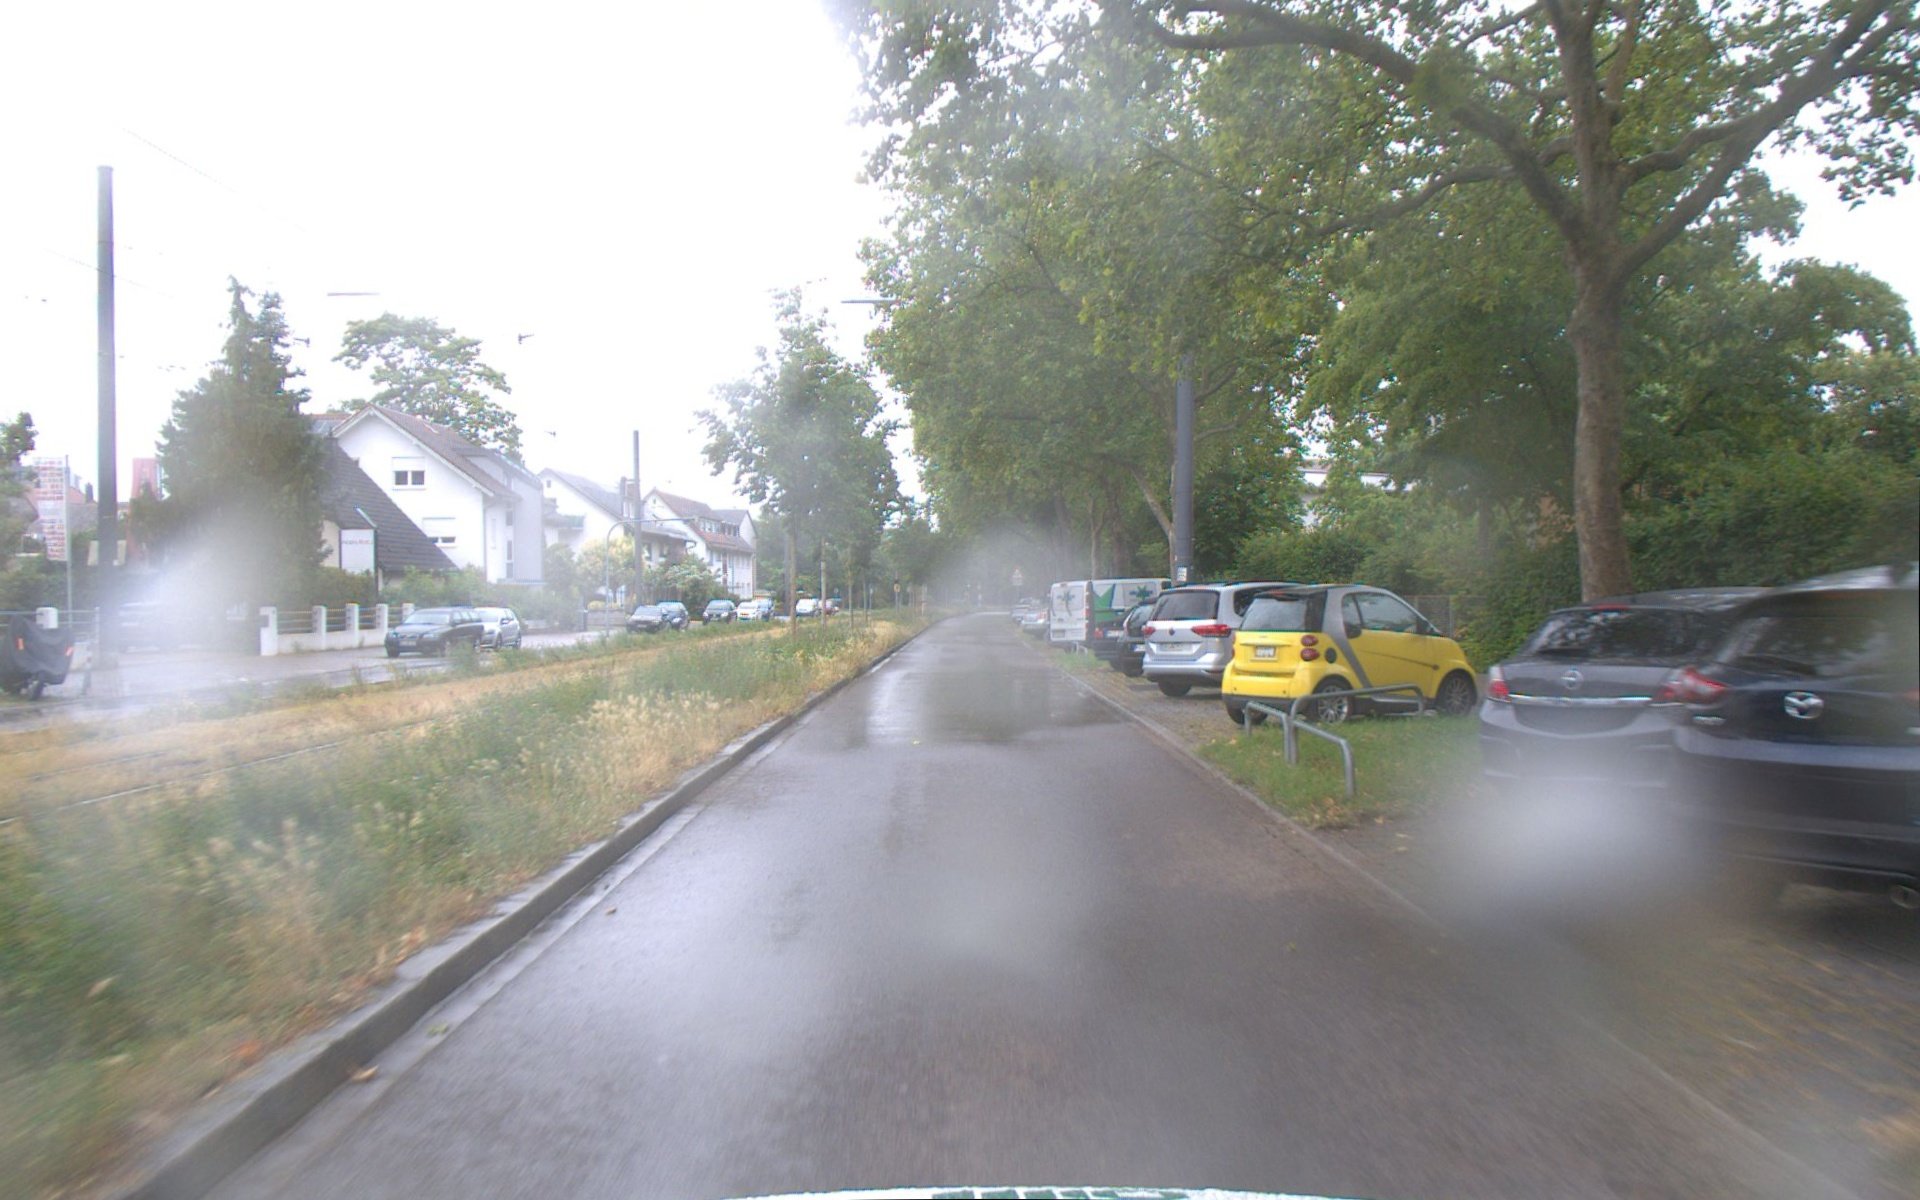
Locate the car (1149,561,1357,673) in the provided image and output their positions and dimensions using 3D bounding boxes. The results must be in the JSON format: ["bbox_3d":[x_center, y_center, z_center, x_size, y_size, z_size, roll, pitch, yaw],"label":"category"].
[{"bbox_3d":[4.965,0.270,27.915,3.237,1.700,1.574,-3,0,-34],"label":"car"}]

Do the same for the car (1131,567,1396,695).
[{"bbox_3d":[4.581,0.430,24.690,4.007,1.669,1.632,-3,0,-39],"label":"car"}]

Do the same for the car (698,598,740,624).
[{"bbox_3d":[-15.540,0.695,106.903,1.952,1.543,4.206,1,1,2],"label":"car"}]

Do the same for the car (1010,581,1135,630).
[{"bbox_3d":[4.319,0.195,63.344,4.503,1.571,1.867,-4,2,-32],"label":"car"}]

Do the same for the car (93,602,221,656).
[{"bbox_3d":[-24.173,0.838,49.951,1.953,1.481,3.918,1,0,0],"label":"car"}]

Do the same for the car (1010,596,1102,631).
[{"bbox_3d":[5.117,0.719,88.069,4.723,1.697,1.969,-2,0,-36],"label":"car"}]

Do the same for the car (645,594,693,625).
[{"bbox_3d":[-15.720,0.485,89.491,1.835,1.577,3.870,1,0,0],"label":"car"}]

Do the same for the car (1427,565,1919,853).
[{"bbox_3d":[4.990,0.563,10.636,4.020,1.443,1.719,-3,0,-37],"label":"car"}]

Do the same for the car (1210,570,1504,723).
[{"bbox_3d":[4.447,0.485,18.527,2.864,1.492,1.588,-3,0,-29],"label":"car"}]

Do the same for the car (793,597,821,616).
[{"bbox_3d":[-13.773,0.561,149.220,1.952,1.608,4.518,1,1,2],"label":"car"}]

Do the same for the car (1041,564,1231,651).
[{"bbox_3d":[4.733,0.158,44.182,4.973,2.048,1.975,-3,1,-35],"label":"car"}]

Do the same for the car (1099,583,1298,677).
[{"bbox_3d":[4.483,0.541,30.906,3.370,1.544,1.825,-3,0,-38],"label":"car"}]

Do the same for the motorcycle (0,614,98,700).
[{"bbox_3d":[-16.320,0.967,29.045,2.640,1.436,1.259,0,-1,42],"label":"motorcycle"}]

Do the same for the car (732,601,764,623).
[{"bbox_3d":[-15.185,0.855,118.654,1.759,1.514,3.598,1,0,2],"label":"car"}]

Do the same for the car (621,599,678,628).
[{"bbox_3d":[-15.840,0.659,84.533,1.952,1.374,4.241,1,1,2],"label":"car"}]

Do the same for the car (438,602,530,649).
[{"bbox_3d":[-16.055,0.843,55.985,1.953,1.435,3.971,1,1,0],"label":"car"}]

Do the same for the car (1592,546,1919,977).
[{"bbox_3d":[4.851,0.526,7.415,3.755,1.559,1.863,-3,1,-32],"label":"car"}]

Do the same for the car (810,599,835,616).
[{"bbox_3d":[-13.578,0.716,163.169,1.952,1.514,4.206,1,1,2],"label":"car"}]

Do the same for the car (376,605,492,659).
[{"bbox_3d":[-15.925,0.930,50.308,1.952,1.481,4.532,1,1,2],"label":"car"}]

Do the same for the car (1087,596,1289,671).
[{"bbox_3d":[4.726,0.645,33.973,4.265,1.408,1.716,-1,0,-40],"label":"car"}]
